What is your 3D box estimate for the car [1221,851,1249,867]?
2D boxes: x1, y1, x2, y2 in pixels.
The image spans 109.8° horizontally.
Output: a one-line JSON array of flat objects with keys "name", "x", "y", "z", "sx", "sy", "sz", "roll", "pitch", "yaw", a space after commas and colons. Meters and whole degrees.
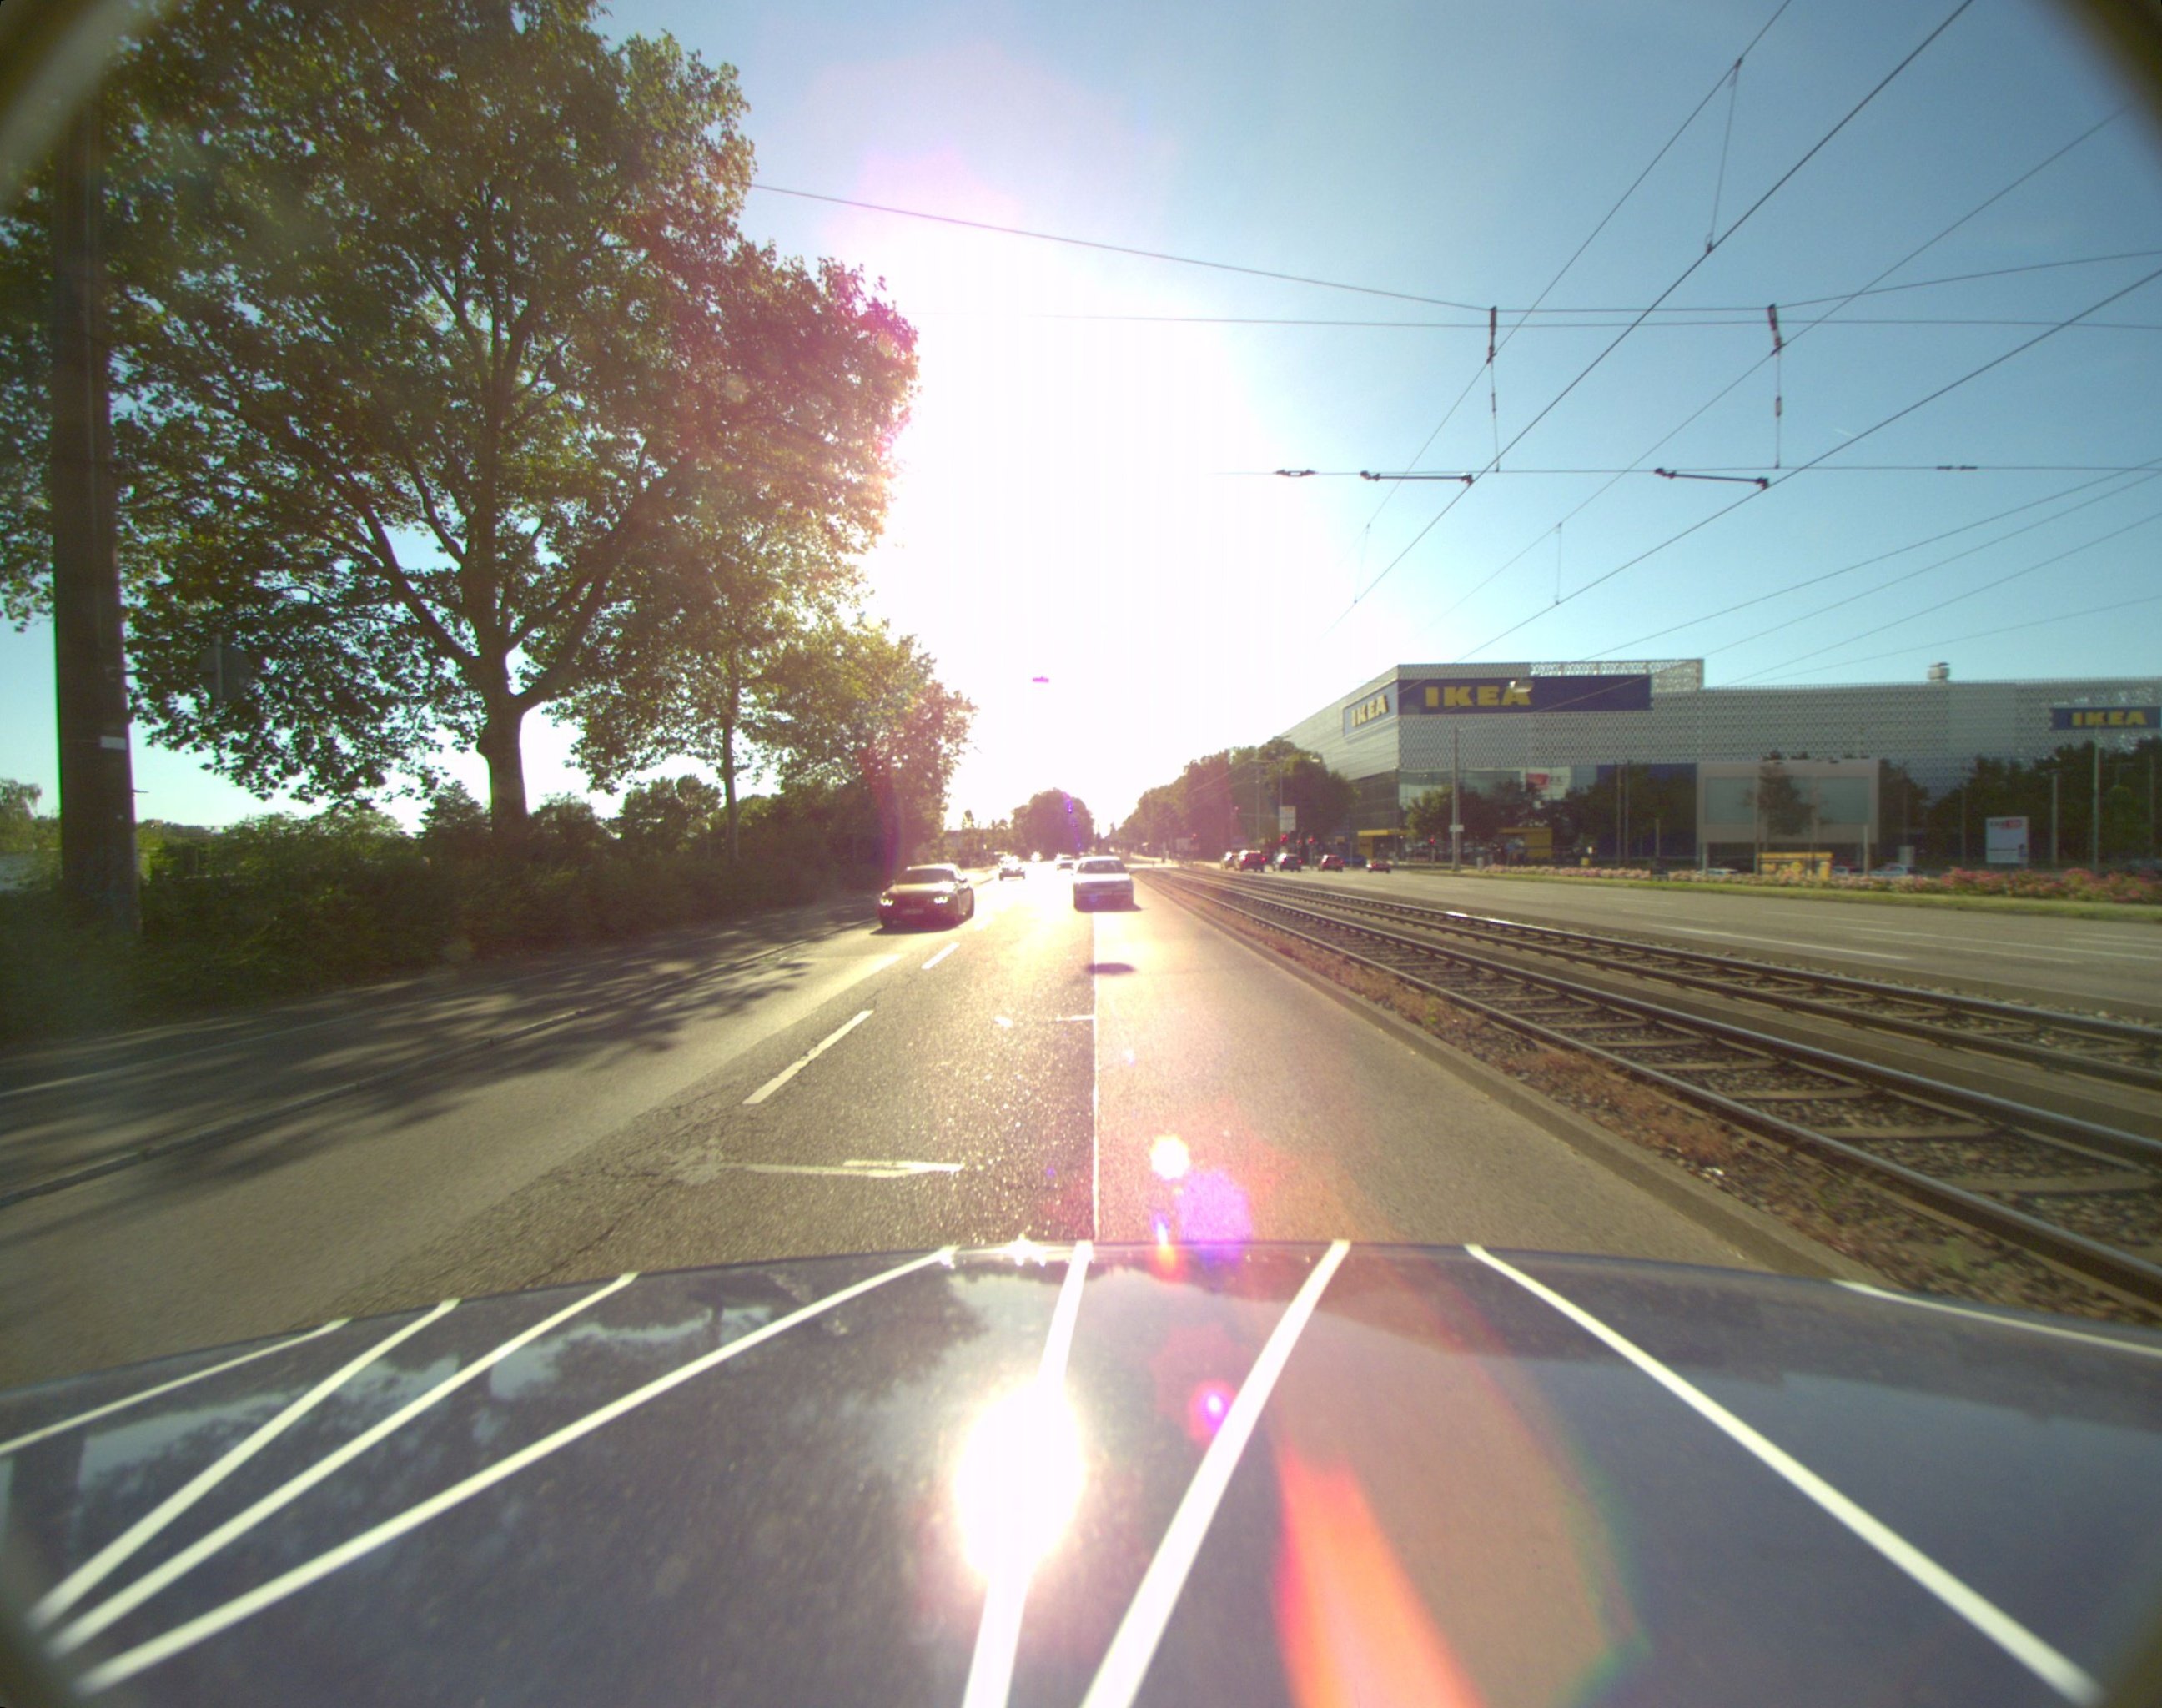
[{"name": "car", "x": 13.988, "y": 0.437, "z": 69.110, "sx": 1.787, "sy": 1.439, "sz": 4.108, "roll": 0, "pitch": 0, "yaw": 2}]

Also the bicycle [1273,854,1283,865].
[{"name": "bicycle", "x": 21.319, "y": 0.626, "z": 82.409, "sx": 0.589, "sy": 1.161, "sz": 1.992, "roll": -2, "pitch": 0, "yaw": 2}]

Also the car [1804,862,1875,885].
[{"name": "car", "x": 64.490, "y": 1.635, "z": 64.697, "sx": 1.934, "sy": 1.734, "sz": 3.999, "roll": -3, "pitch": 0, "yaw": -3}]

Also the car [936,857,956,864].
[{"name": "car", "x": -33.437, "y": 1.589, "z": 188.002, "sx": 4.661, "sy": 1.560, "sz": 1.858, "roll": -3, "pitch": 0, "yaw": -1}]

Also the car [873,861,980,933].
[{"name": "car", "x": -3.817, "y": 0.992, "z": 19.582, "sx": 1.871, "sy": 1.459, "sz": 4.584, "roll": -2, "pitch": 1, "yaw": -2}]

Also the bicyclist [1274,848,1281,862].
[{"name": "bicyclist", "x": 21.305, "y": 0.149, "z": 82.419, "sx": 0.589, "sy": 1.514, "sz": 0.751, "roll": -2, "pitch": 1, "yaw": 2}]

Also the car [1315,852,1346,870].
[{"name": "car", "x": 21.748, "y": 0.600, "z": 66.331, "sx": 1.938, "sy": 1.468, "sz": 4.134, "roll": 1, "pitch": 1, "yaw": 9}]

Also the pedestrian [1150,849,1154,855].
[{"name": "pedestrian", "x": 15.620, "y": -0.362, "z": 167.511, "sx": 0.654, "sy": 1.245, "sz": 0.685, "roll": -3, "pitch": 1, "yaw": -1}]

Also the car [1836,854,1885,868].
[{"name": "car", "x": 87.499, "y": 0.738, "z": 85.334, "sx": 3.583, "sy": 1.452, "sz": 1.771, "roll": 1, "pitch": 2, "yaw": 0}]

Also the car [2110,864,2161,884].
[{"name": "car", "x": 88.768, "y": 1.637, "z": 62.628, "sx": 1.672, "sy": 1.543, "sz": 4.438, "roll": -3, "pitch": 0, "yaw": -3}]

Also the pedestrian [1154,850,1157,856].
[{"name": "pedestrian", "x": 15.907, "y": -0.293, "z": 161.823, "sx": 0.603, "sy": 1.217, "sz": 0.617, "roll": -3, "pitch": 1, "yaw": 5}]

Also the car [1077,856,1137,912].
[{"name": "car", "x": 0.761, "y": 0.834, "z": 22.679, "sx": 1.602, "sy": 1.440, "sz": 3.799, "roll": -1, "pitch": 1, "yaw": 1}]

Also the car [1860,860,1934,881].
[{"name": "car", "x": 69.346, "y": 1.346, "z": 64.663, "sx": 1.934, "sy": 1.583, "sz": 3.999, "roll": -3, "pitch": 0, "yaw": -3}]

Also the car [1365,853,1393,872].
[{"name": "car", "x": 25.651, "y": 0.706, "z": 65.565, "sx": 1.823, "sy": 1.633, "sz": 4.005, "roll": 1, "pitch": 0, "yaw": 16}]

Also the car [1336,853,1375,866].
[{"name": "car", "x": 34.649, "y": 0.696, "z": 95.984, "sx": 4.252, "sy": 1.489, "sz": 2.016, "roll": 2, "pitch": 1, "yaw": 6}]

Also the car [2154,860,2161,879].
[{"name": "car", "x": 93.377, "y": 1.329, "z": 63.544, "sx": 1.727, "sy": 1.646, "sz": 4.000, "roll": -1, "pitch": 0, "yaw": 2}]

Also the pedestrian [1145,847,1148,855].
[{"name": "pedestrian", "x": 15.218, "y": -0.694, "z": 176.069, "sx": 0.763, "sy": 1.700, "sz": 0.678, "roll": 0, "pitch": 1, "yaw": 2}]

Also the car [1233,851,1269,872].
[{"name": "car", "x": 13.545, "y": 0.555, "z": 60.805, "sx": 1.998, "sy": 1.646, "sz": 4.658, "roll": 0, "pitch": 0, "yaw": 2}]

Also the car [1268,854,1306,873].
[{"name": "car", "x": 16.928, "y": 0.731, "z": 62.619, "sx": 1.861, "sy": 1.452, "sz": 4.137, "roll": -1, "pitch": 0, "yaw": -1}]

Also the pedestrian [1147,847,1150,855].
[{"name": "pedestrian", "x": 15.380, "y": -0.674, "z": 172.489, "sx": 0.661, "sy": 1.623, "sz": 0.777, "roll": -3, "pitch": 1, "yaw": 3}]

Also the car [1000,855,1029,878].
[{"name": "car", "x": -4.480, "y": 0.797, "z": 51.710, "sx": 1.857, "sy": 1.415, "sz": 3.978, "roll": -2, "pitch": 0, "yaw": -4}]

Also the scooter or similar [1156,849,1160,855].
[{"name": "scooter or similar", "x": 15.758, "y": -0.329, "z": 156.059, "sx": 0.665, "sy": 1.227, "sz": 1.372, "roll": -1, "pitch": 1, "yaw": 1}]

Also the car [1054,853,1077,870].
[{"name": "car", "x": -1.446, "y": 0.722, "z": 72.571, "sx": 1.871, "sy": 1.422, "sz": 3.831, "roll": -3, "pitch": 0, "yaw": 3}]

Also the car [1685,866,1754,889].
[{"name": "car", "x": 54.898, "y": 2.007, "z": 65.429, "sx": 1.999, "sy": 1.700, "sz": 4.415, "roll": -3, "pitch": 0, "yaw": -4}]
